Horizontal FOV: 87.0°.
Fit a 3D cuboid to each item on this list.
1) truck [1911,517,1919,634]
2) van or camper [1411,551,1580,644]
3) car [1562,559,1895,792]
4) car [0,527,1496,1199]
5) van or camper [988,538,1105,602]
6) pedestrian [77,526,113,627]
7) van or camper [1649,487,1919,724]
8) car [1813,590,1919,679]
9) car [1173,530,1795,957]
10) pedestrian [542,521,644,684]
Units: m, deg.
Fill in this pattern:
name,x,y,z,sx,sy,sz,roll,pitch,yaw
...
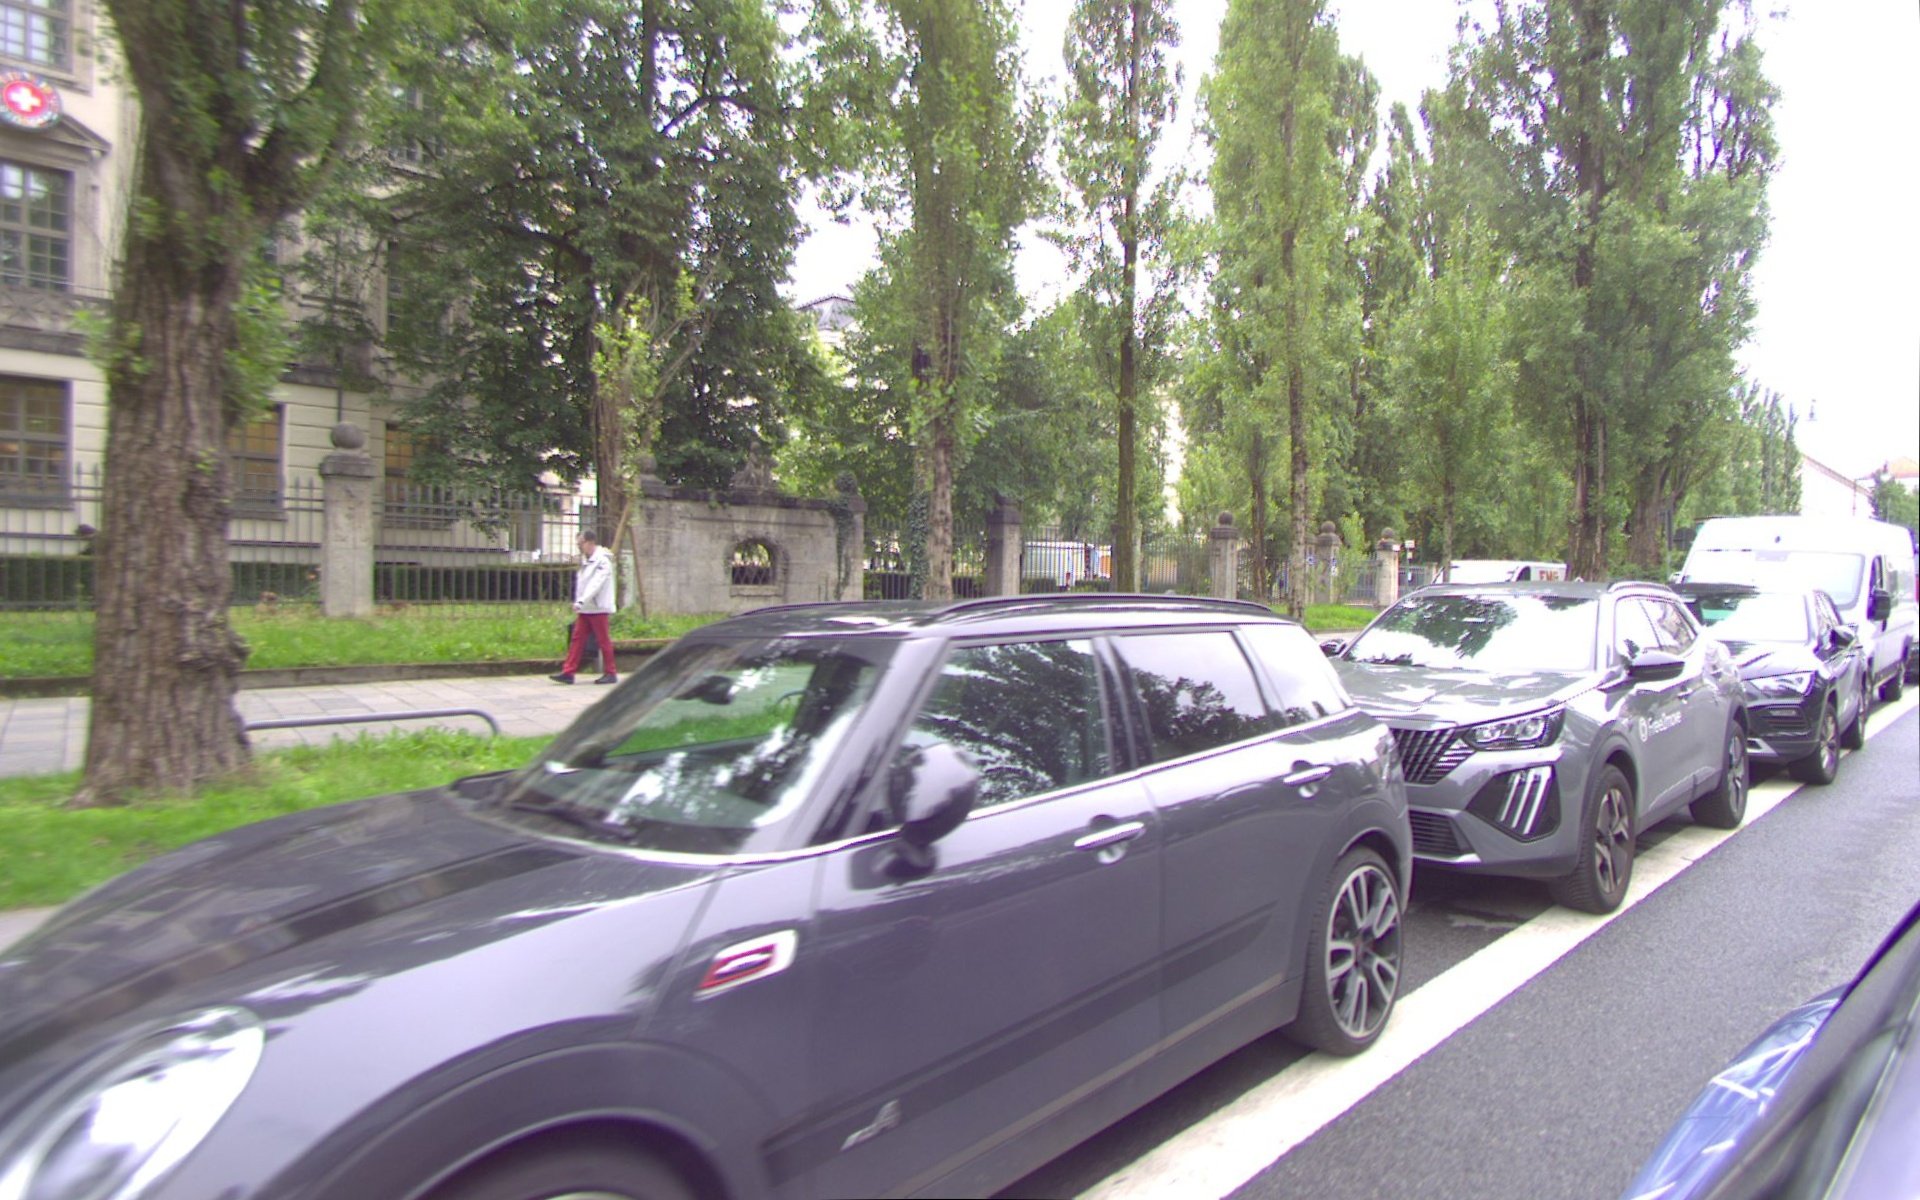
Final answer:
name,x,y,z,sx,sy,sz,roll,pitch,yaw
truck,33.978,-0.736,33.529,10.104,3.609,2.849,0,1,-43
van or camper,12.717,-0.073,23.887,4.952,1.958,1.978,0,1,-42
car,7.306,0.512,9.436,4.344,1.669,1.787,0,2,-44
car,-0.212,0.665,2.895,4.221,1.538,1.706,0,2,-42
van or camper,3.883,-1.366,46.051,2.210,2.739,5.219,0,2,-41
pedestrian,-16.466,-0.456,19.266,0.495,1.885,0.637,0,2,-43
van or camper,11.673,0.009,13.900,6.306,2.571,2.142,0,2,-42
car,16.896,0.556,18.382,3.933,1.437,1.678,0,2,-43
car,3.400,0.521,6.074,4.557,1.638,1.787,0,2,-42
pedestrian,-4.260,0.014,11.733,0.879,1.790,0.797,0,1,-40
